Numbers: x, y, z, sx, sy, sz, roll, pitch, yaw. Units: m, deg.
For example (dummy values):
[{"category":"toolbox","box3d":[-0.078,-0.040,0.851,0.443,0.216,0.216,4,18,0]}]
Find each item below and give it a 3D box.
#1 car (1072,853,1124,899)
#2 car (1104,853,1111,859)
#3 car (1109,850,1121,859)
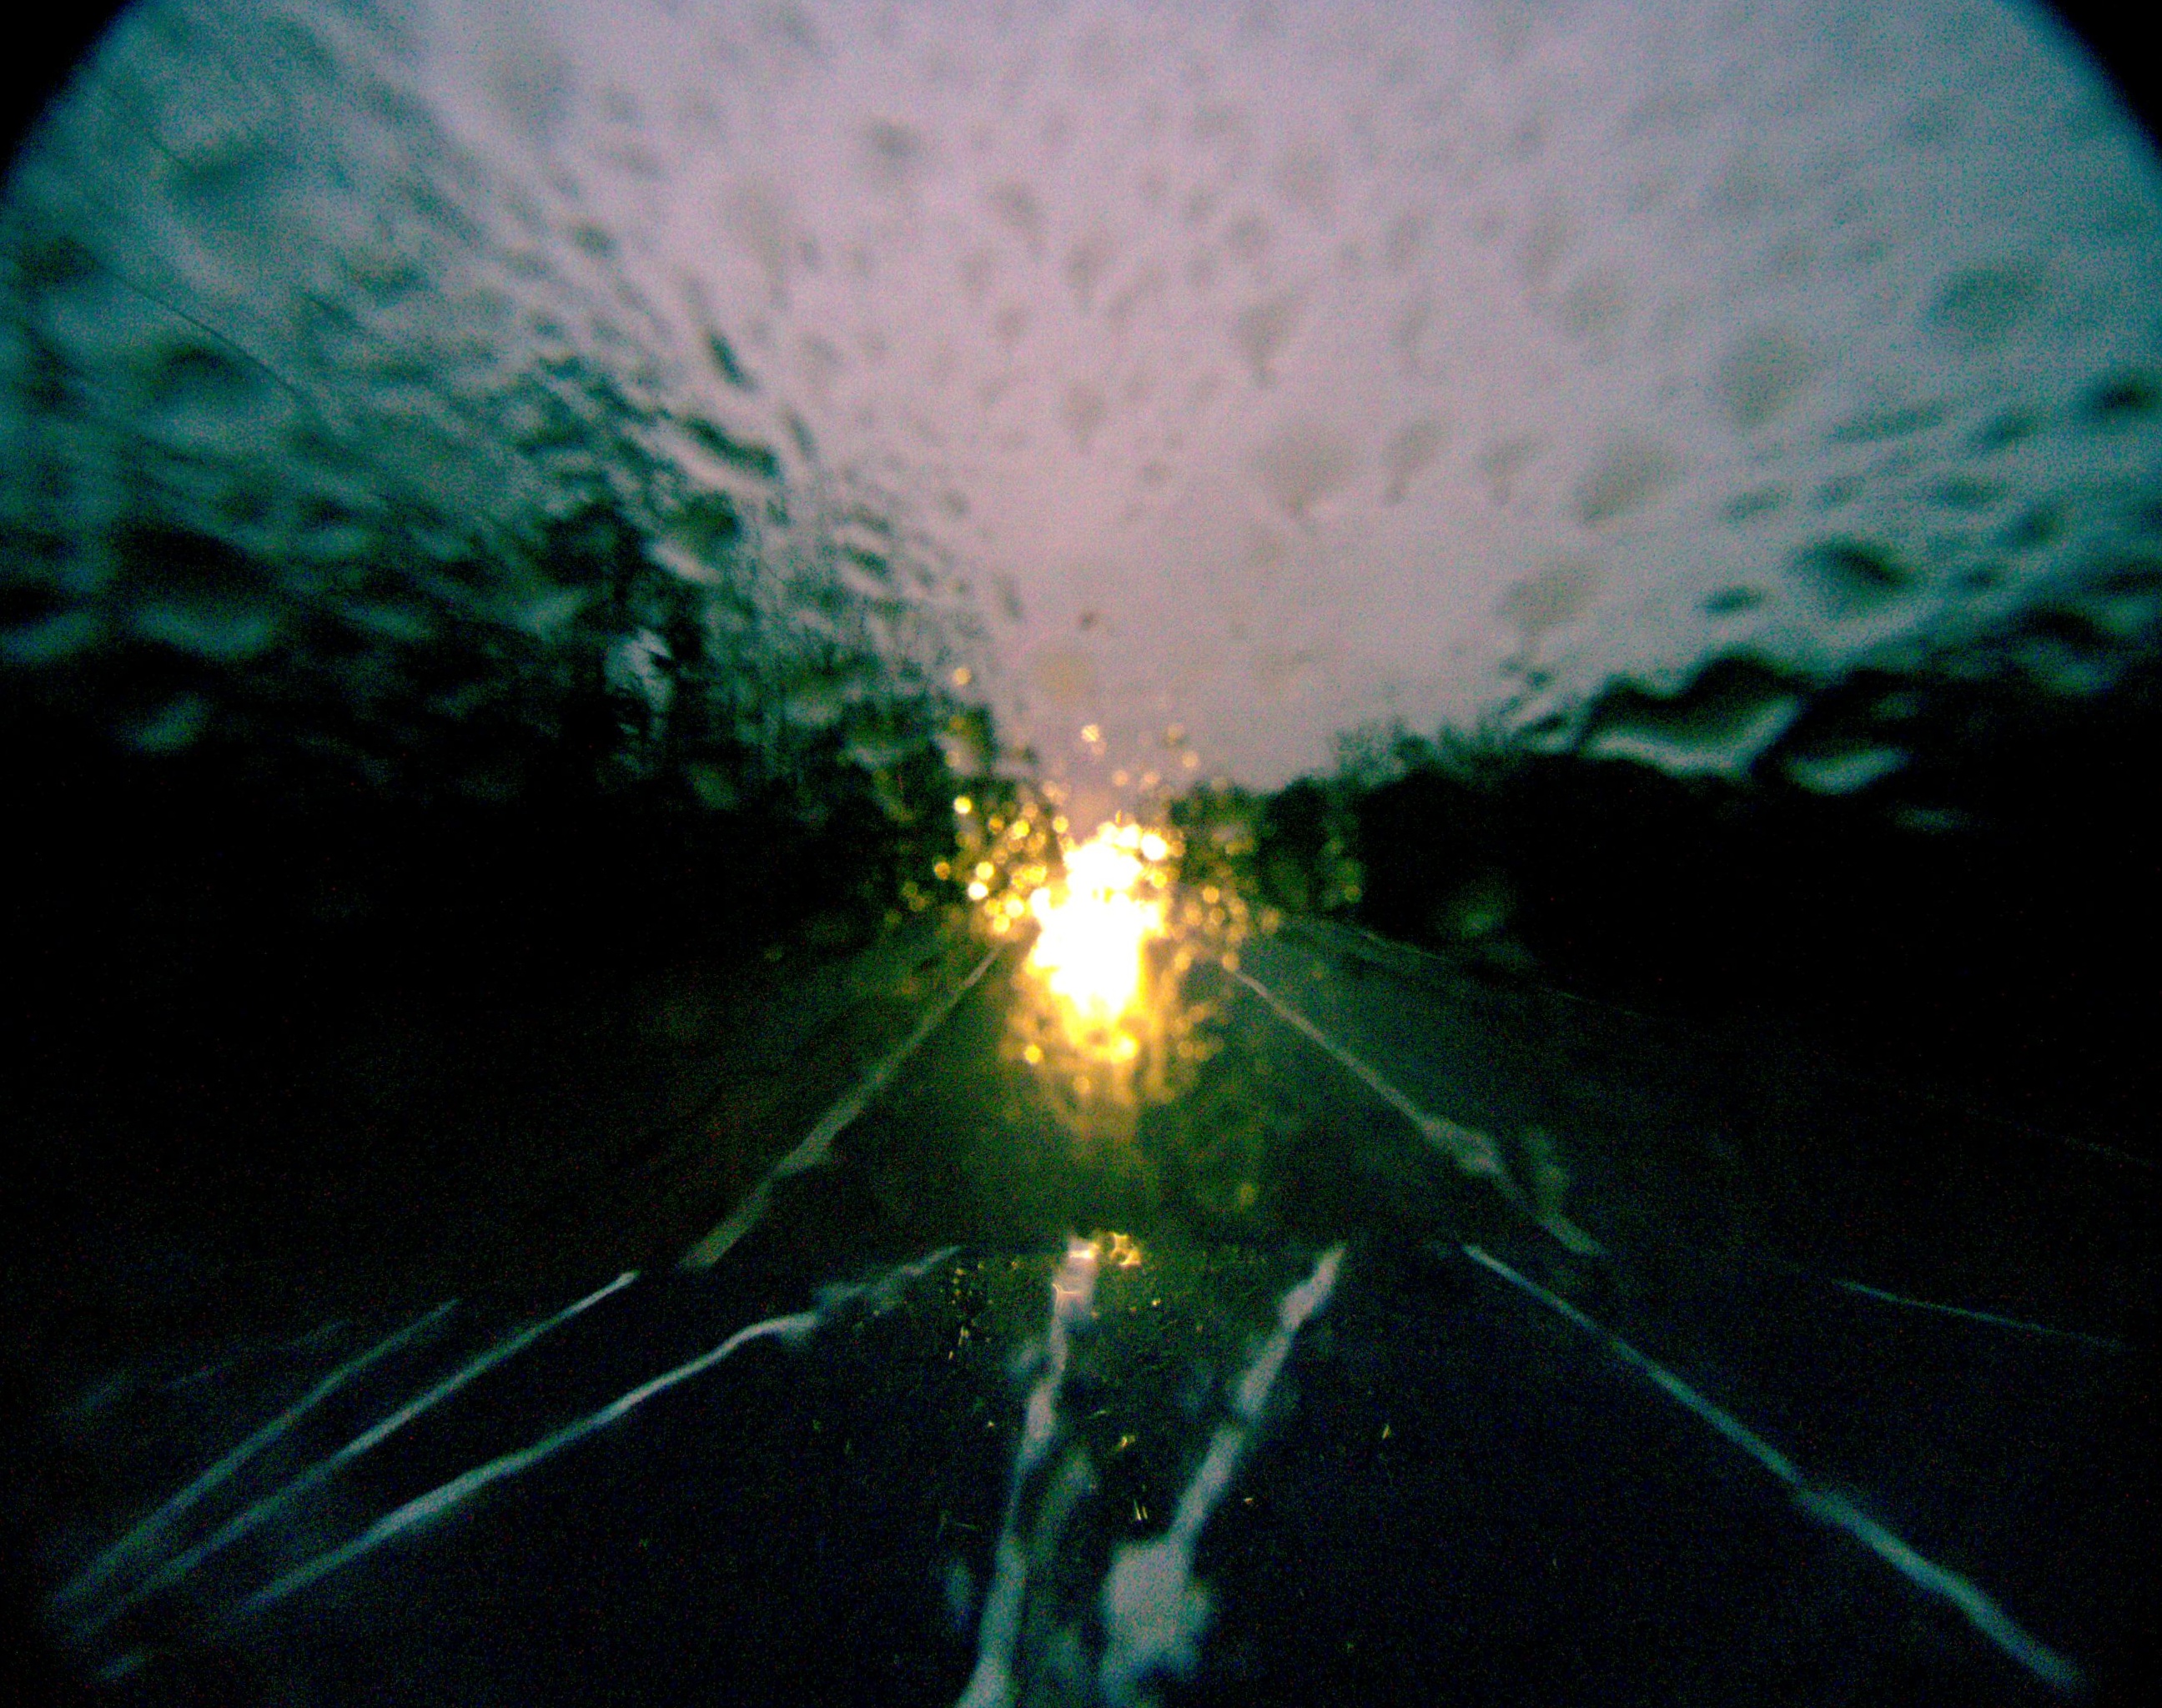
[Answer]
[{"category":"car","box3d":[0.651,0.788,29.523,1.860,1.604,4.000,-1,0,1]},{"category":"car","box3d":[6.916,0.614,198.161,1.809,1.478,4.000,1,0,0]},{"category":"car","box3d":[6.012,0.134,134.547,1.771,1.589,4.000,1,0,0]}]
